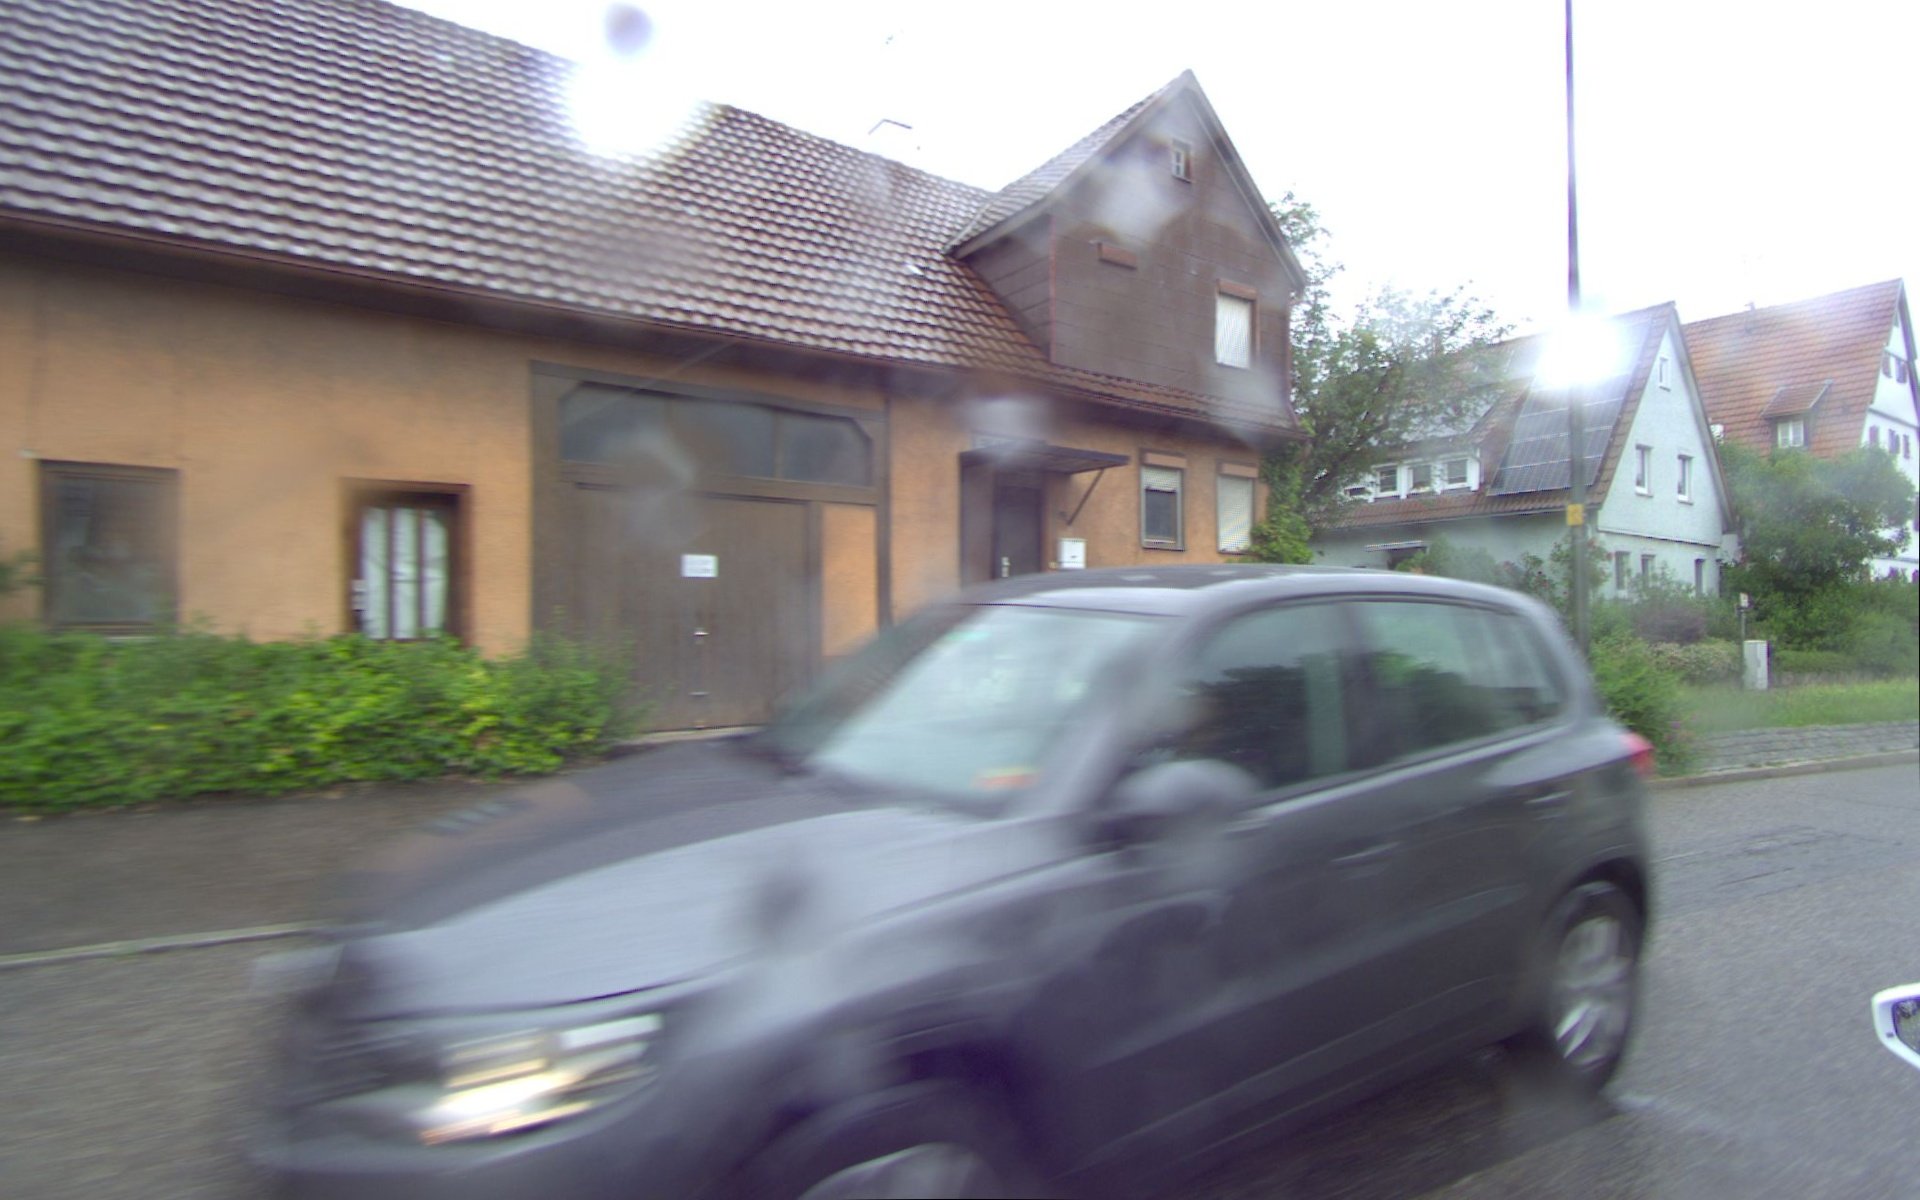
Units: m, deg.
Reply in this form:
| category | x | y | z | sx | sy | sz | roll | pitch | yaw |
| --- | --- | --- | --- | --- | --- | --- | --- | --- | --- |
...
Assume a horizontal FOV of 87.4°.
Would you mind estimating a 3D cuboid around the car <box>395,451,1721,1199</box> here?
| category | x | y | z | sx | sy | sz | roll | pitch | yaw |
| --- | --- | --- | --- | --- | --- | --- | --- | --- | --- |
| car | 0.537 | 0.694 | 3.195 | 3.958 | 1.662 | 1.787 | 1 | -2 | -33 |
